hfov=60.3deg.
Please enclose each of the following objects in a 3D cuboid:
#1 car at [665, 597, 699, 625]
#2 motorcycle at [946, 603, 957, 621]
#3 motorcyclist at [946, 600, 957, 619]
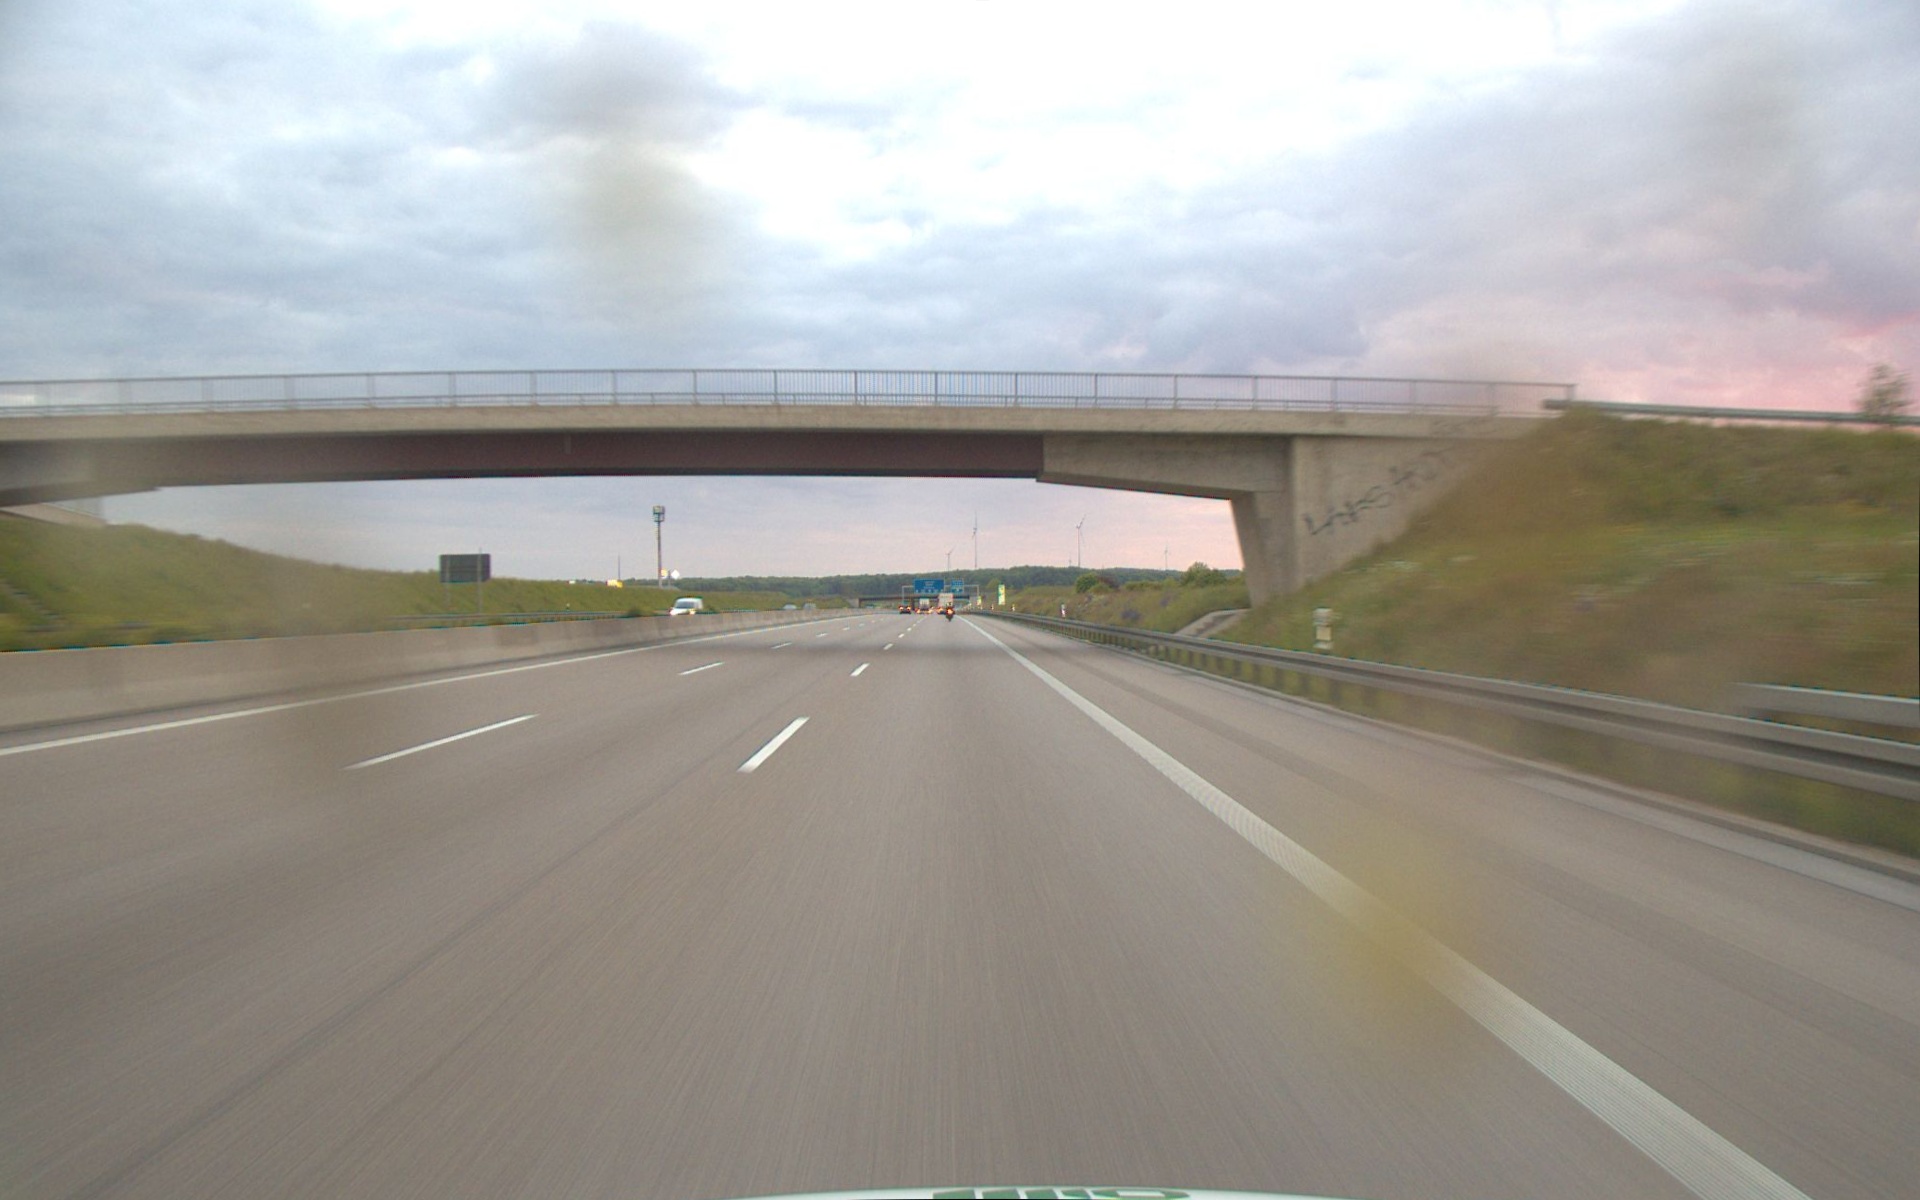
[{"bbox_3d":[-20.366,0.773,121.449,1.786,1.969,4.892,1,0,-2],"label":"car"},{"bbox_3d":[-0.680,0.974,133.294,0.883,1.370,2.348,0,0,-1],"label":"motorcycle"},{"bbox_3d":[-0.683,0.777,133.177,0.848,1.514,1.168,1,0,1],"label":"motorcyclist"}]
